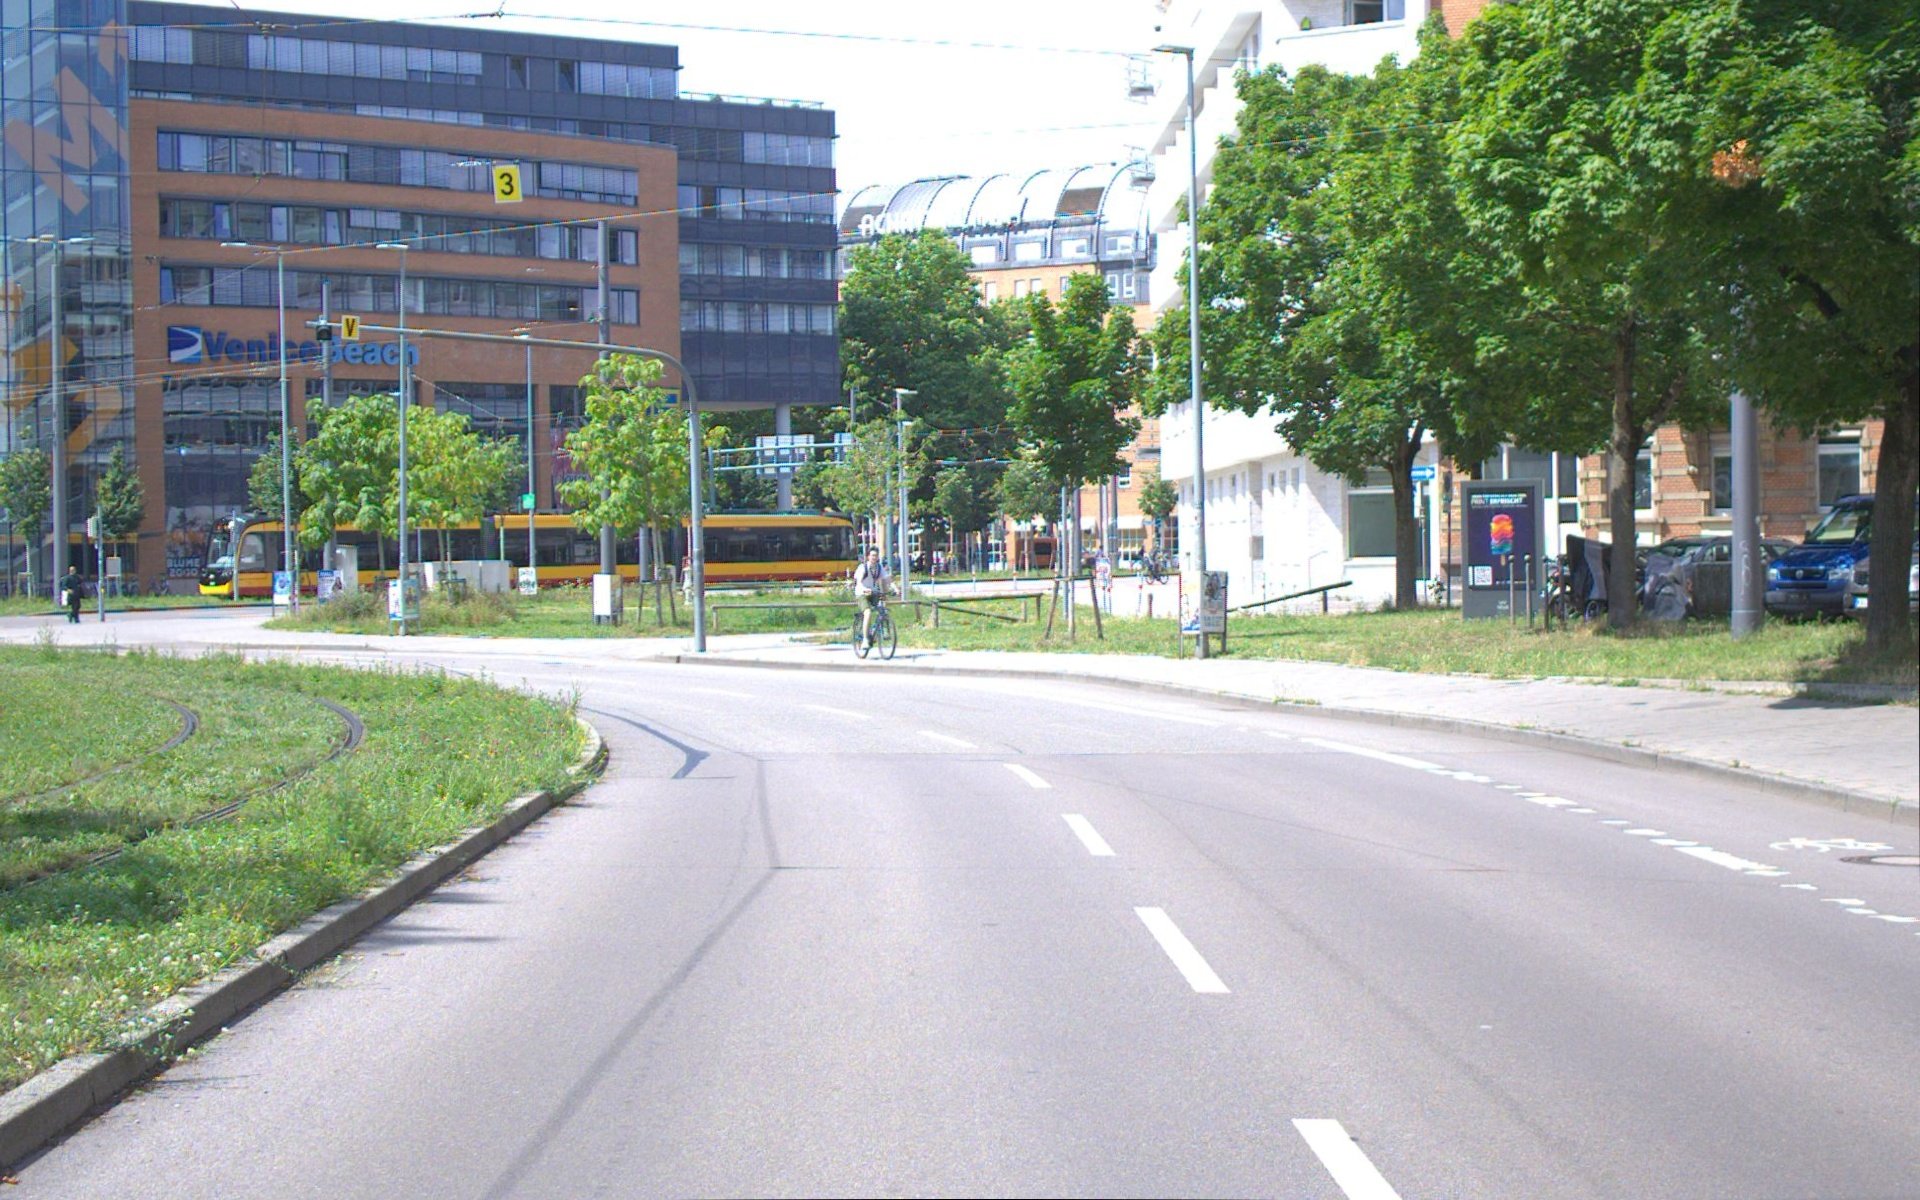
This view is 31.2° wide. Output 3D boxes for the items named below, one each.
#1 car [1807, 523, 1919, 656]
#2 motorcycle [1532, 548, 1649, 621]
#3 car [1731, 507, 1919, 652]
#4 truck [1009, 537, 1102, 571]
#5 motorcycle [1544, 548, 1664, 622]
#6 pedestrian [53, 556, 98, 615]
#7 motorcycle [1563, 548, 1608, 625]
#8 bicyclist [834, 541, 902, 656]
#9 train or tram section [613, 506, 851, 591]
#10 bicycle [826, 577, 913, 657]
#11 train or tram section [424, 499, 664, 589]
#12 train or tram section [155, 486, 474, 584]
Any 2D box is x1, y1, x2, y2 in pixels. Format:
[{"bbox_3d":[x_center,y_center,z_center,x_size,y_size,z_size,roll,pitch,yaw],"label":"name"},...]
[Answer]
[{"bbox_3d":[13.225,-0.124,44.508,4.160,1.650,1.917,0,0,-28],"label":"car"},{"bbox_3d":[10.283,-0.248,56.092,1.783,1.163,0.640,-1,0,-2],"label":"motorcycle"},{"bbox_3d":[13.030,-0.260,47.495,4.615,1.921,1.916,0,0,-32],"label":"car"},{"bbox_3d":[5.831,-2.803,210.206,5.517,2.079,1.996,0,0,38],"label":"truck"},{"bbox_3d":[10.330,-0.237,55.210,1.783,1.163,0.640,-1,0,-2],"label":"motorcycle"},{"bbox_3d":[-25.787,-0.427,100.238,0.917,1.696,0.807,-1,1,23],"label":"pedestrian"},{"bbox_3d":[9.581,-0.210,52.606,0.638,1.163,1.905,-1,0,11],"label":"motorcycle"},{"bbox_3d":[-1.493,-0.025,55.605,0.694,1.818,0.956,-4,1,-24],"label":"bicyclist"},{"bbox_3d":[-10.100,-2.233,154.501,3.062,3.609,12.607,0,0,38],"label":"train or tram section"},{"bbox_3d":[-1.478,0.271,55.607,0.693,1.238,1.839,-4,2,-24],"label":"bicycle"},{"bbox_3d":[-17.445,-2.309,145.085,3.062,3.591,10.967,0,0,39],"label":"train or tram section"},{"bbox_3d":[-25.264,-2.478,135.655,3.223,3.587,13.469,0,0,39],"label":"train or tram section"}]
